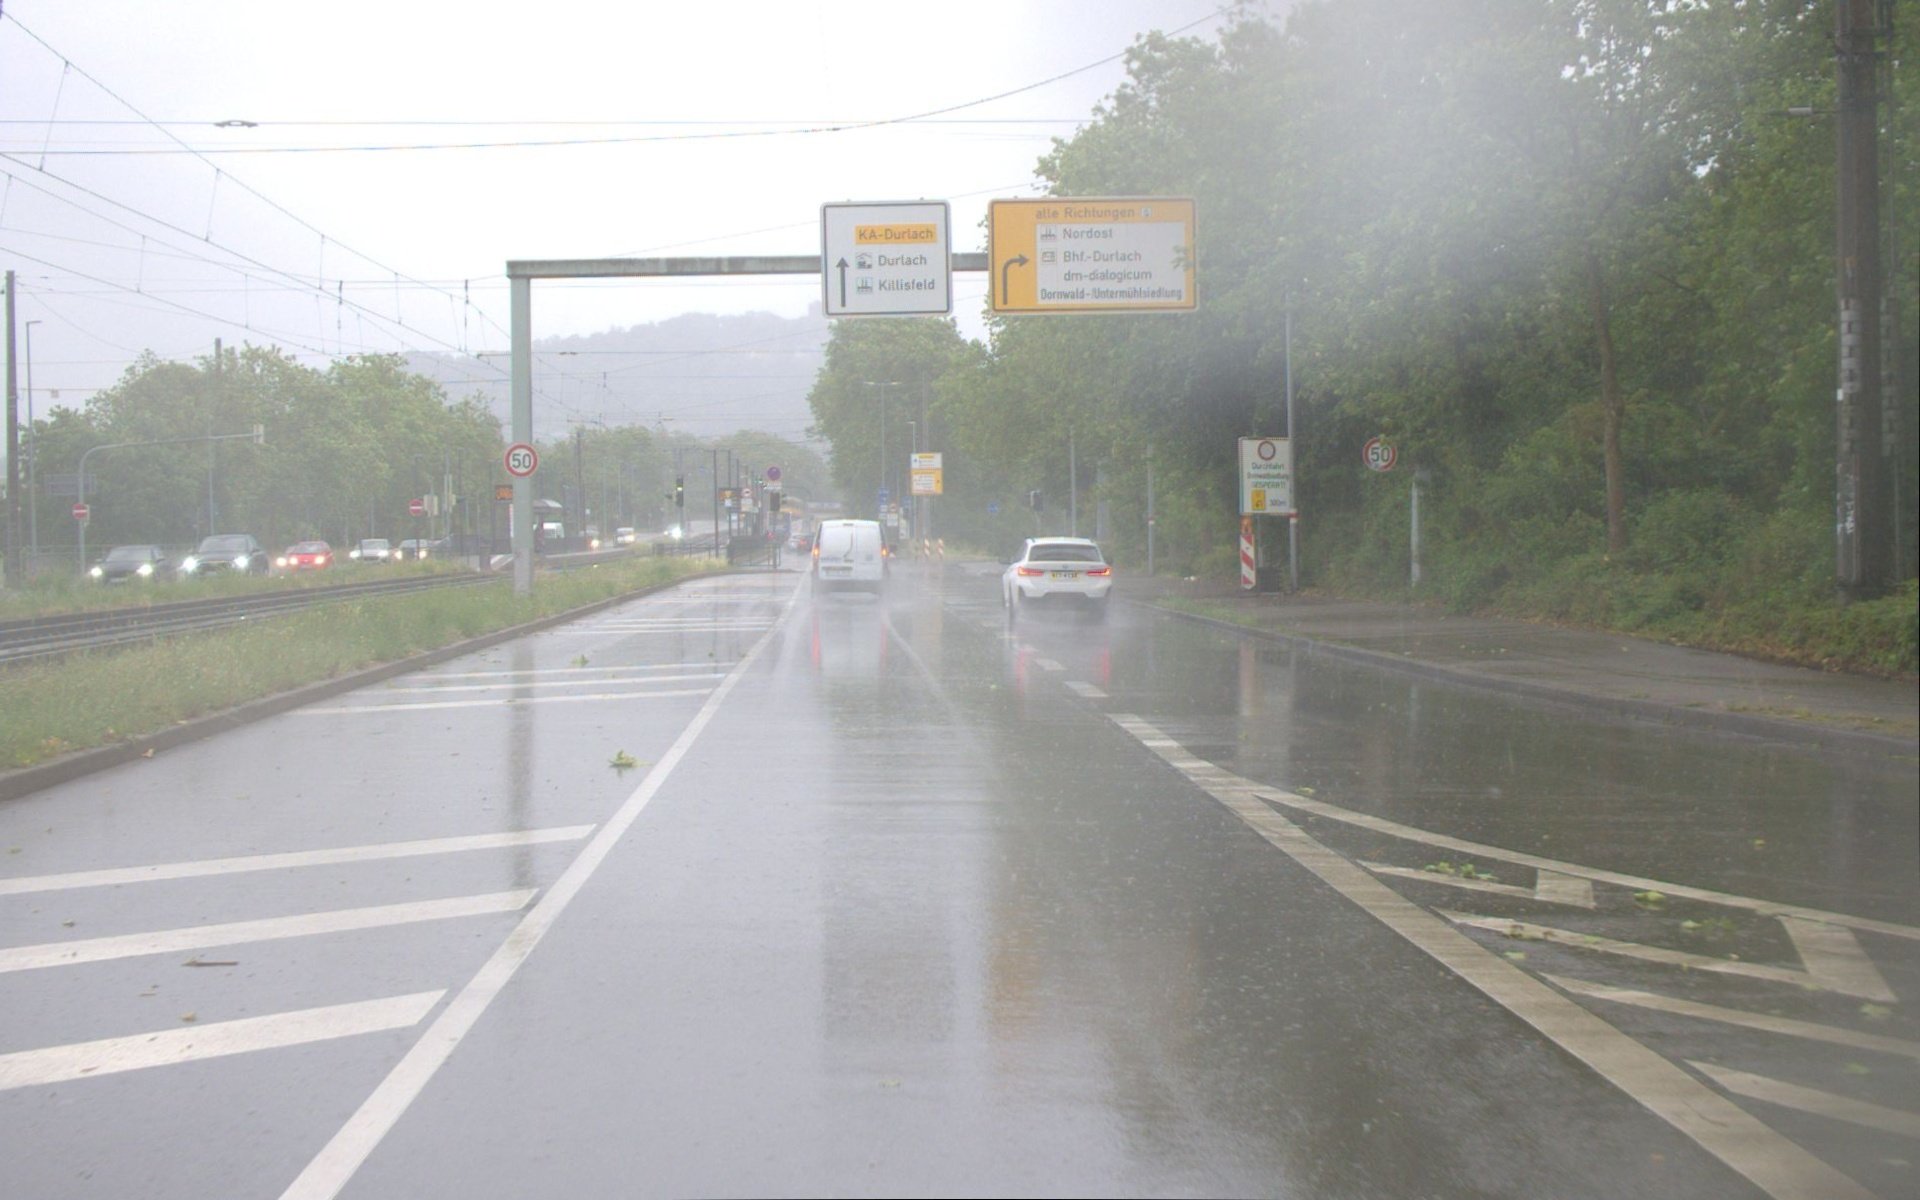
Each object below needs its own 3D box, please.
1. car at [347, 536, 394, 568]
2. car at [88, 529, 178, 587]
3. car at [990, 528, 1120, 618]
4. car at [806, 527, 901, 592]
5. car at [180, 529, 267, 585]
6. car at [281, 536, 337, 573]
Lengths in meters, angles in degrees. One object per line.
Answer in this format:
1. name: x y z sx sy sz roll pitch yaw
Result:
1. car: -27.469 -2.235 160.293 1.720 1.489 4.001 0 1 -3
2. car: -24.880 -1.282 103.569 1.943 1.680 4.781 -1 1 -5
3. car: 1.630 -0.505 60.716 1.948 1.531 4.467 0 1 -3
4. car: -2.395 -0.924 77.309 2.077 1.415 4.000 0 1 -2
5. car: -21.746 -1.292 101.648 1.943 1.610 4.990 -1 1 -5
6. car: -26.753 -1.887 141.286 1.720 1.489 4.001 0 1 -3
